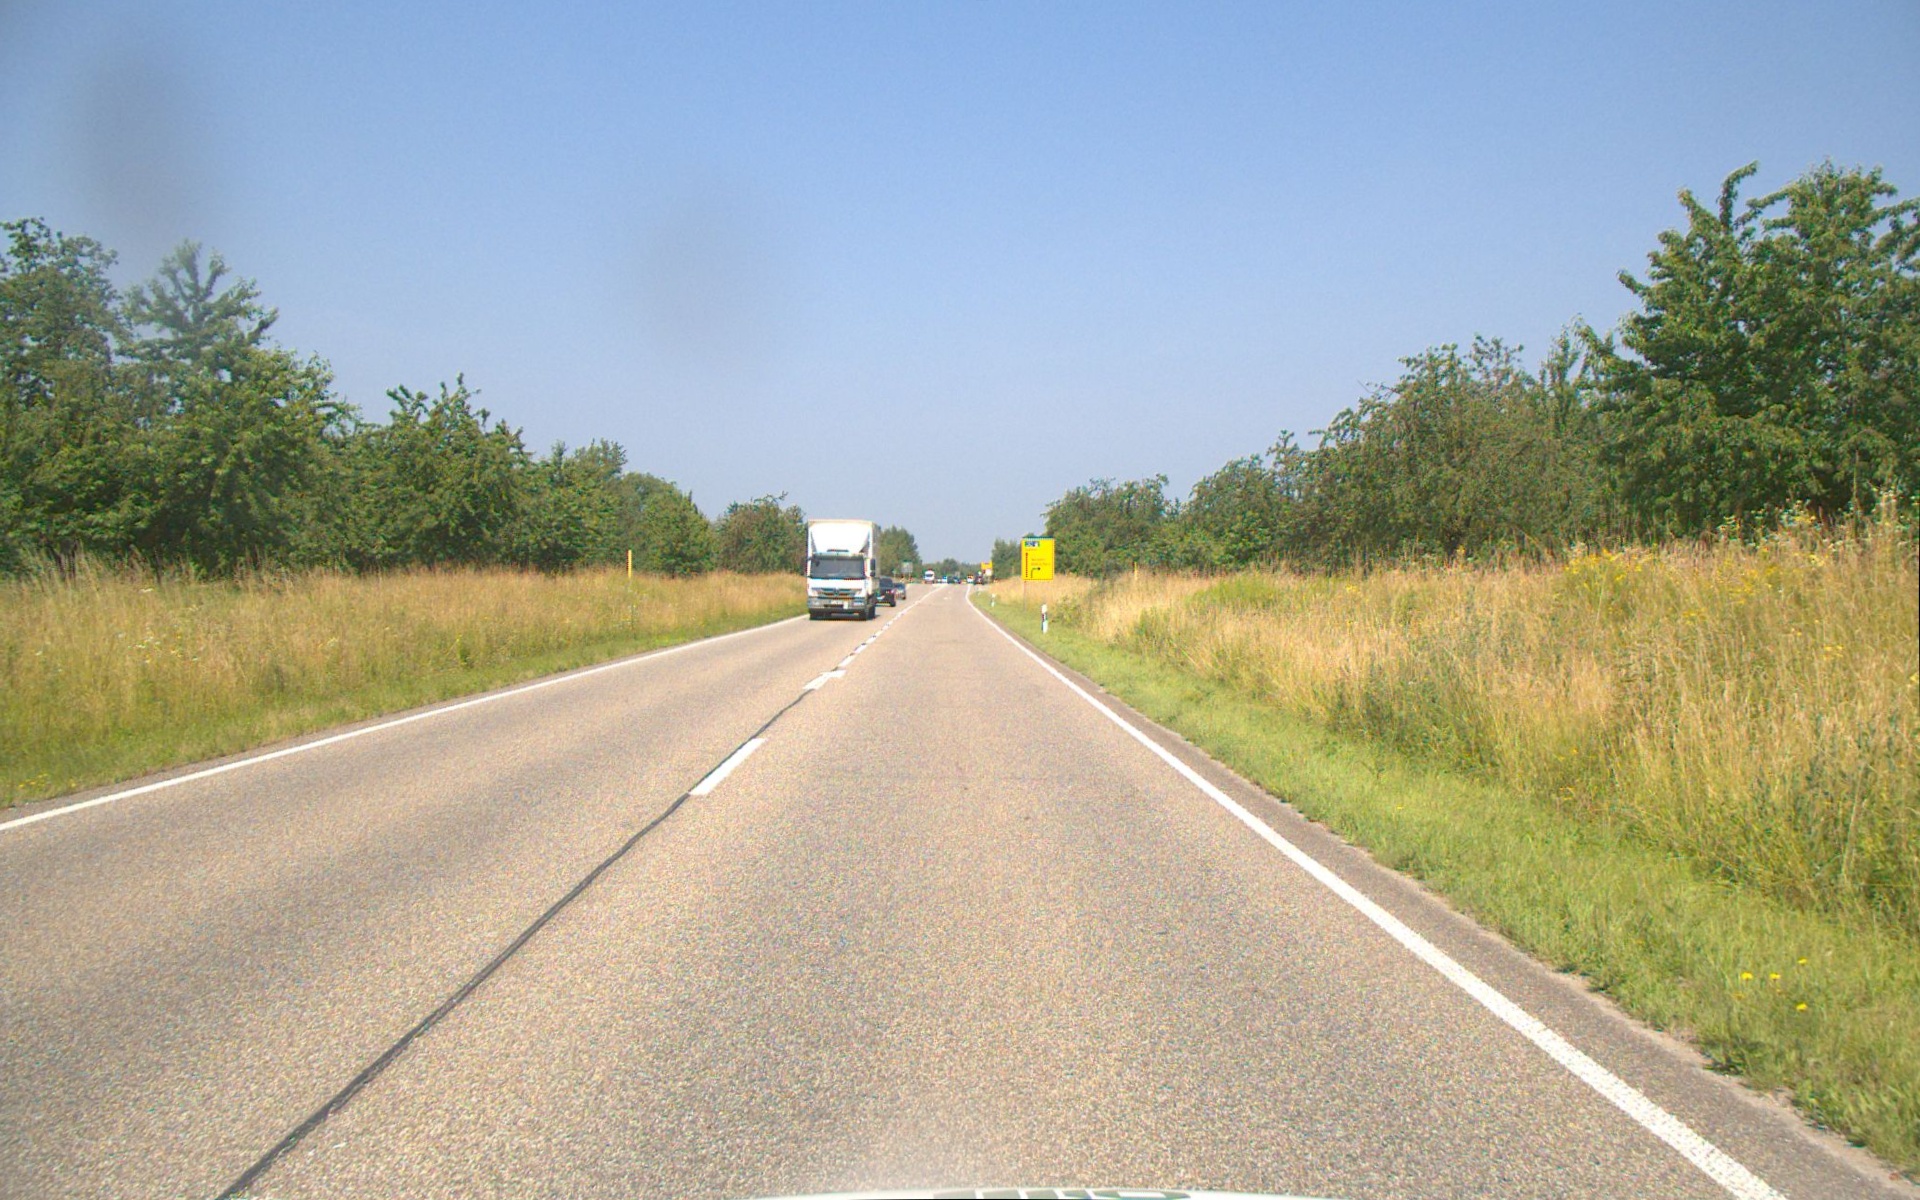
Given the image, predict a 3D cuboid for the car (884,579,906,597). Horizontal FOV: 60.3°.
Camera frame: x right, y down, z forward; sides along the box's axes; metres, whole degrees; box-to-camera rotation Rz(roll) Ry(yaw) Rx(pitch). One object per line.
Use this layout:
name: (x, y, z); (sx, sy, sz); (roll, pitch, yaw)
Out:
car: (-5.272, -0.986, 133.975); (1.656, 1.433, 4.893); (0, 1, -1)

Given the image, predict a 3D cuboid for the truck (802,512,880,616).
truck: (-4.743, -1.400, 67.659); (2.610, 3.906, 10.206); (1, 0, -1)

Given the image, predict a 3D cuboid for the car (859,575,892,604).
car: (-4.993, -0.627, 98.319); (1.799, 1.707, 4.410); (0, 1, -1)
